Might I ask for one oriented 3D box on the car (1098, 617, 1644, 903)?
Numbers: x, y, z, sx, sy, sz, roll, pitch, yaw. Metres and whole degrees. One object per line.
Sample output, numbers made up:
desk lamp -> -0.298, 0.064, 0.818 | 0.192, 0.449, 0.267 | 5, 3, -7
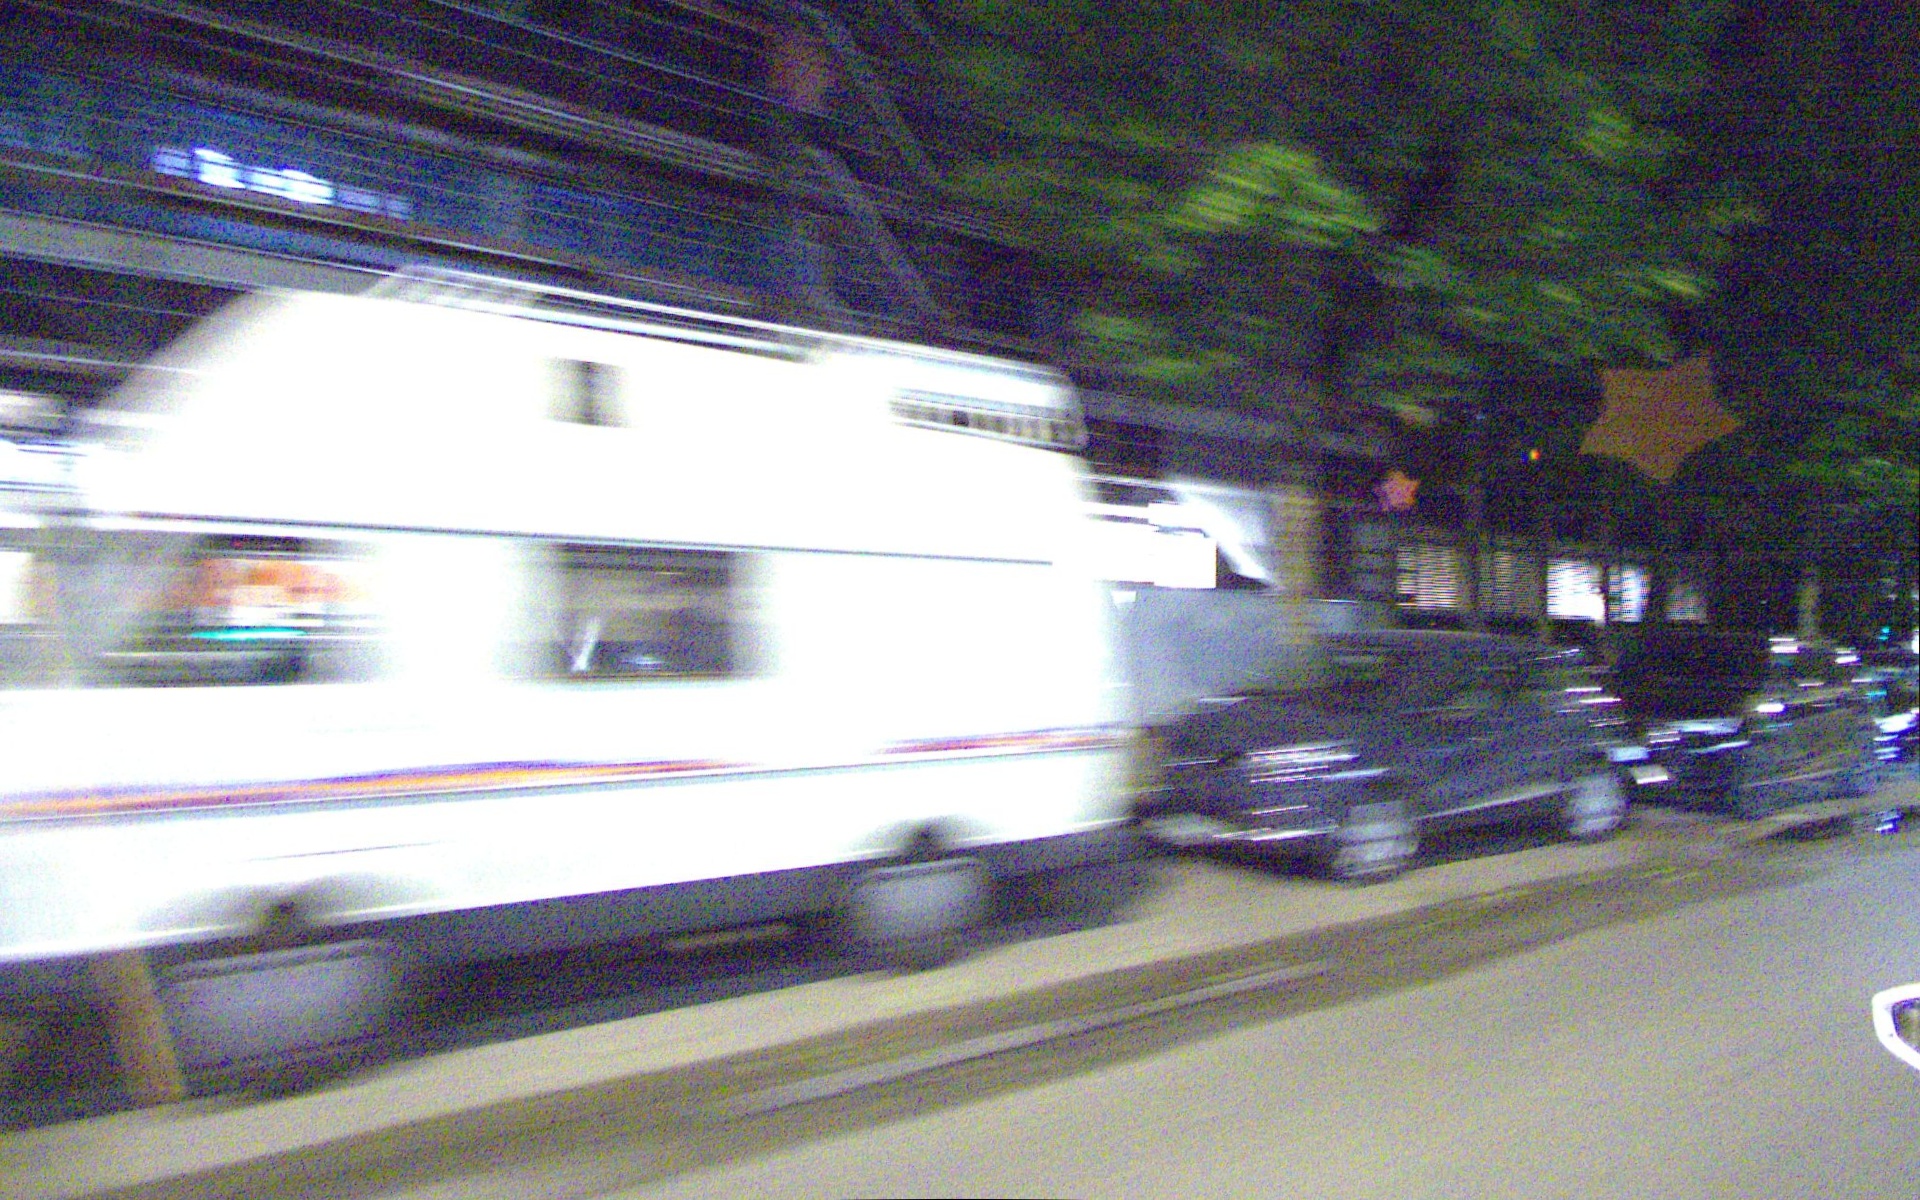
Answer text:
car -> 3.209, 0.996, 7.662 | 4.068, 1.628, 1.733 | 2, 0, -30

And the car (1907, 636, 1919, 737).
car -> 16.600, 1.372, 15.574 | 4.157, 1.522, 1.707 | 1, 1, -31

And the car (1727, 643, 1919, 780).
car -> 11.978, 1.329, 12.980 | 4.580, 1.430, 1.696 | 2, 0, -31

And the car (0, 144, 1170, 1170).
car -> -1.561, 0.203, 4.883 | 4.854, 2.948, 2.168 | 1, 0, -31

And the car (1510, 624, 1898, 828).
car -> 7.626, 1.109, 10.186 | 4.251, 1.628, 1.732 | 2, 0, -32
